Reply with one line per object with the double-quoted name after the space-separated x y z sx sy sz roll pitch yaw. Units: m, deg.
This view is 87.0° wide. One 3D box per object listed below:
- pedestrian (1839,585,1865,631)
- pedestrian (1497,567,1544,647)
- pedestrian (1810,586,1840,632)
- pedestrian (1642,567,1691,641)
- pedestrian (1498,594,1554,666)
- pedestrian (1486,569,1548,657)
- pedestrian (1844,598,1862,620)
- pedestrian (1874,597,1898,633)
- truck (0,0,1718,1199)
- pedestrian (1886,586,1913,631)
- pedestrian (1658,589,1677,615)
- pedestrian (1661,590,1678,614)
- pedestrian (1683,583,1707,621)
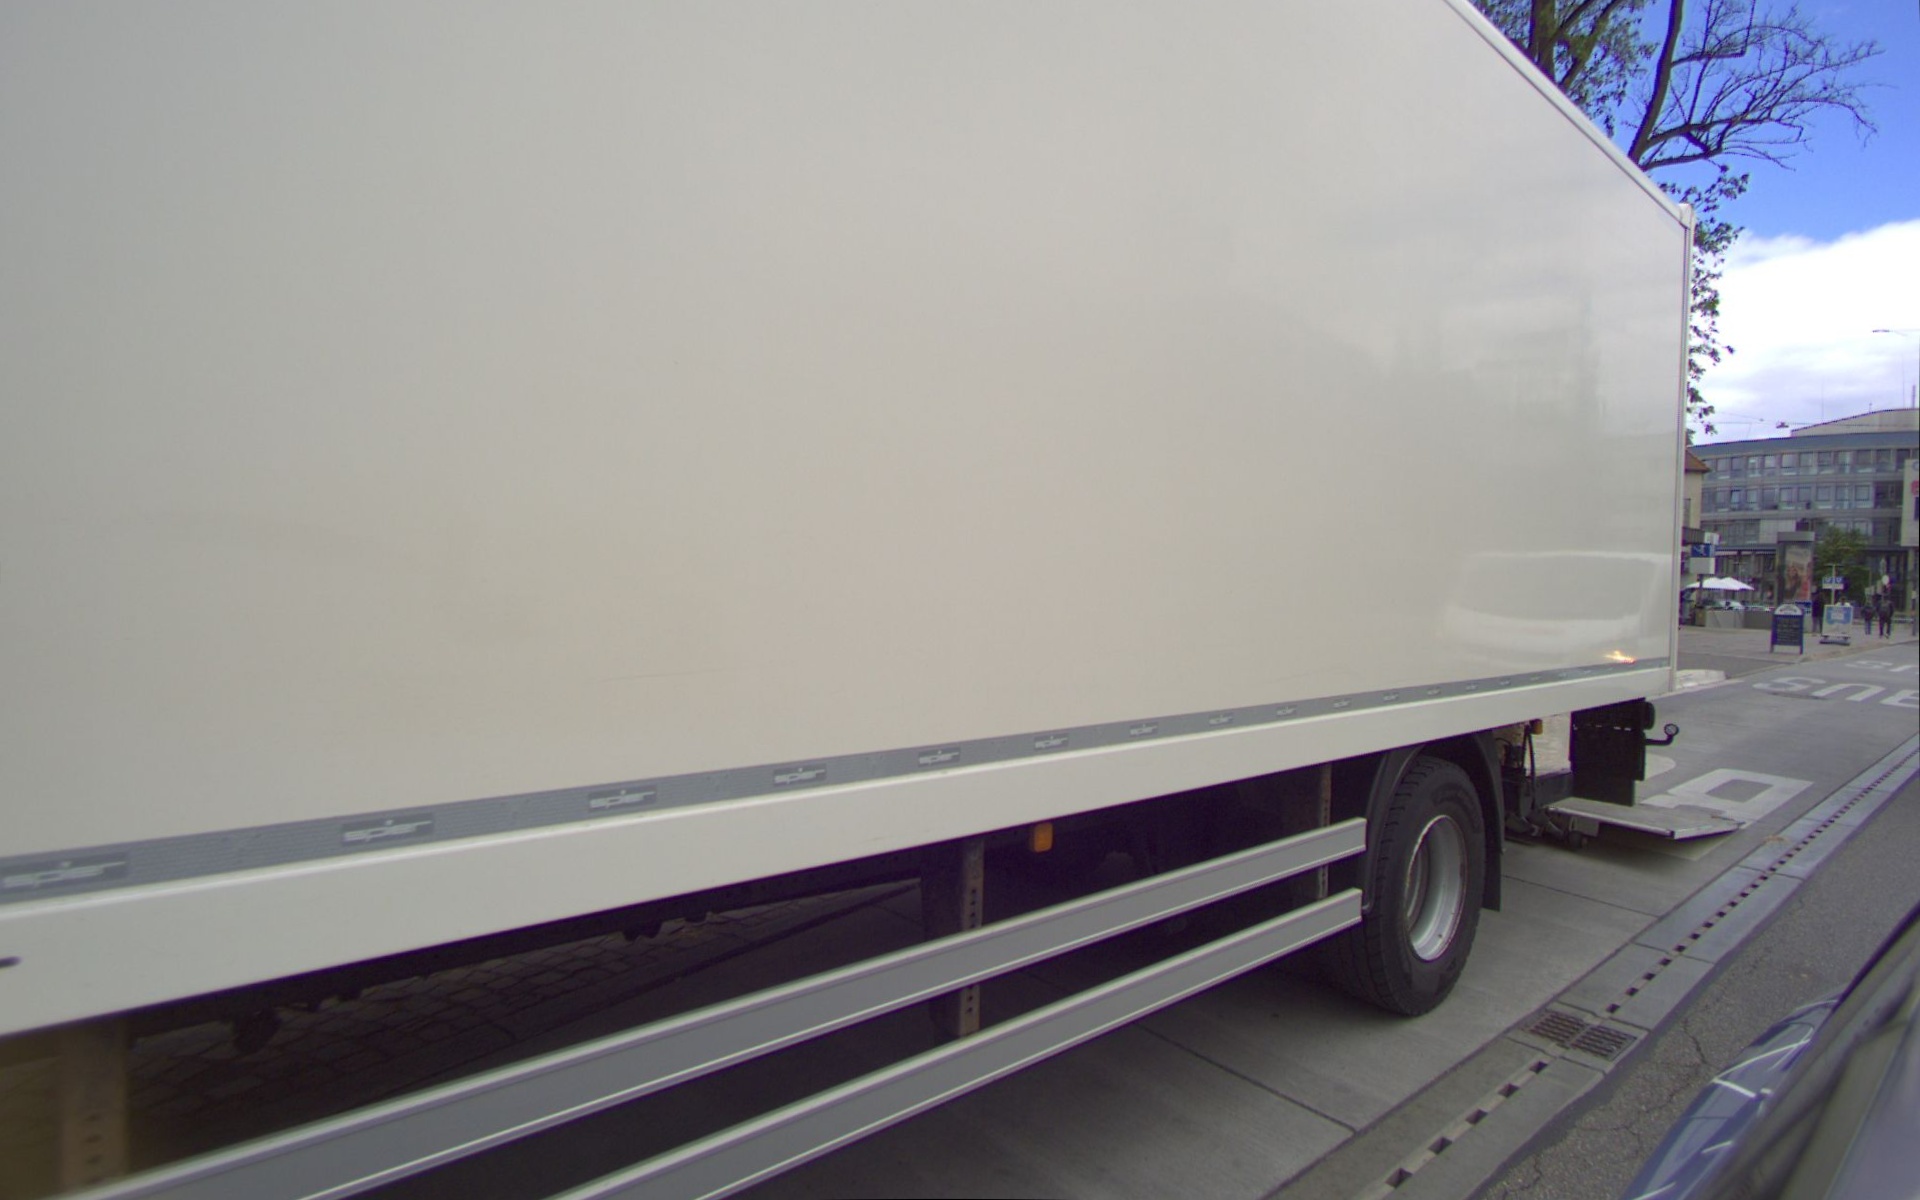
32.845 0.275 37.272 0.605 1.654 0.613 0 3 -44 "pedestrian"
12.883 0.146 23.272 0.682 1.762 0.770 5 5 44 "pedestrian"
32.316 0.334 37.792 0.605 1.654 0.719 0 3 -44 "pedestrian"
17.665 0.090 25.307 0.795 1.762 0.770 5 5 43 "pedestrian"
9.778 0.507 17.487 0.711 1.180 0.579 2 0 43 "pedestrian"
10.904 0.248 19.824 0.778 1.654 0.616 2 4 -29 "pedestrian"
68.902 0.682 78.099 0.834 1.655 0.642 0 -1 16 "pedestrian"
43.604 0.695 47.652 0.838 1.655 0.689 1 1 -42 "pedestrian"
-0.512 -0.522 3.188 9.597 3.605 2.693 0 2 -42 "truck"
36.406 0.310 39.210 0.604 1.698 0.613 1 2 -39 "pedestrian"
35.474 0.105 50.753 0.578 1.235 0.614 1 2 -43 "pedestrian"
35.903 0.106 51.204 0.578 1.236 0.613 1 -2 -43 "pedestrian"
32.188 0.090 44.322 0.787 1.655 0.667 1 1 -44 "pedestrian"
